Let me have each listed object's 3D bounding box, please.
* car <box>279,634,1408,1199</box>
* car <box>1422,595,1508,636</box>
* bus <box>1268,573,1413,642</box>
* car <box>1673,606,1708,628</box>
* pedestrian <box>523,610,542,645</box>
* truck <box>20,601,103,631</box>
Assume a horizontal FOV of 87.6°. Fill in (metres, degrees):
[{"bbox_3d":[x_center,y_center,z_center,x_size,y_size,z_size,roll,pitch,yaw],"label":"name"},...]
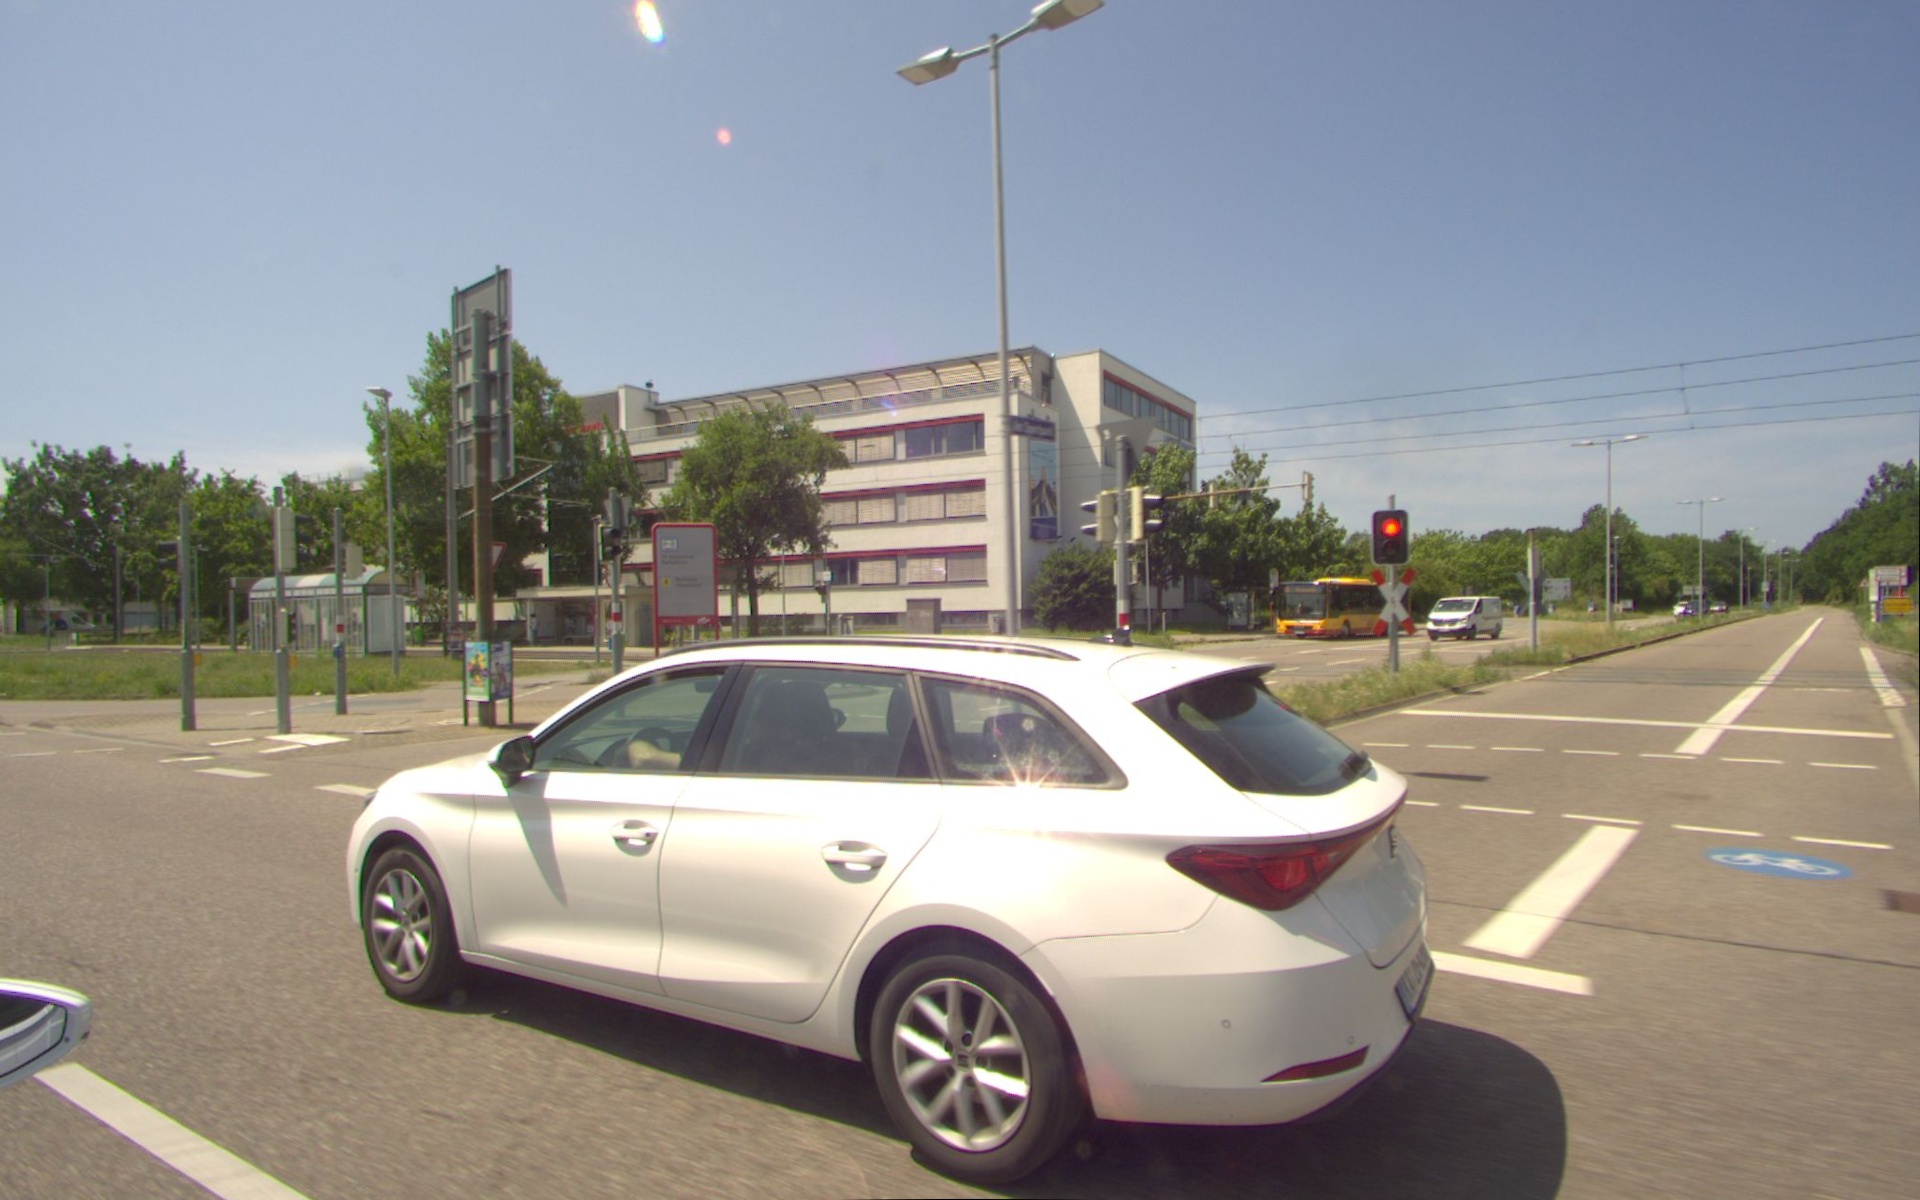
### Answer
[{"bbox_3d":[-0.693,0.853,4.005,4.385,1.408,1.680,-1,-1,31],"label":"car"},{"bbox_3d":[23.183,0.771,45.850,5.020,1.750,1.812,2,-3,-42],"label":"car"},{"bbox_3d":[20.009,0.477,51.976,2.809,3.159,11.976,-2,-2,42],"label":"bus"},{"bbox_3d":[61.140,1.426,83.806,1.978,1.813,3.966,-1,-1,42],"label":"car"},{"bbox_3d":[-20.208,1.299,47.367,0.681,1.628,0.550,-1,-2,34],"label":"pedestrian"},{"bbox_3d":[-92.675,1.634,103.364,2.283,2.881,5.837,-1,0,26],"label":"truck"}]
